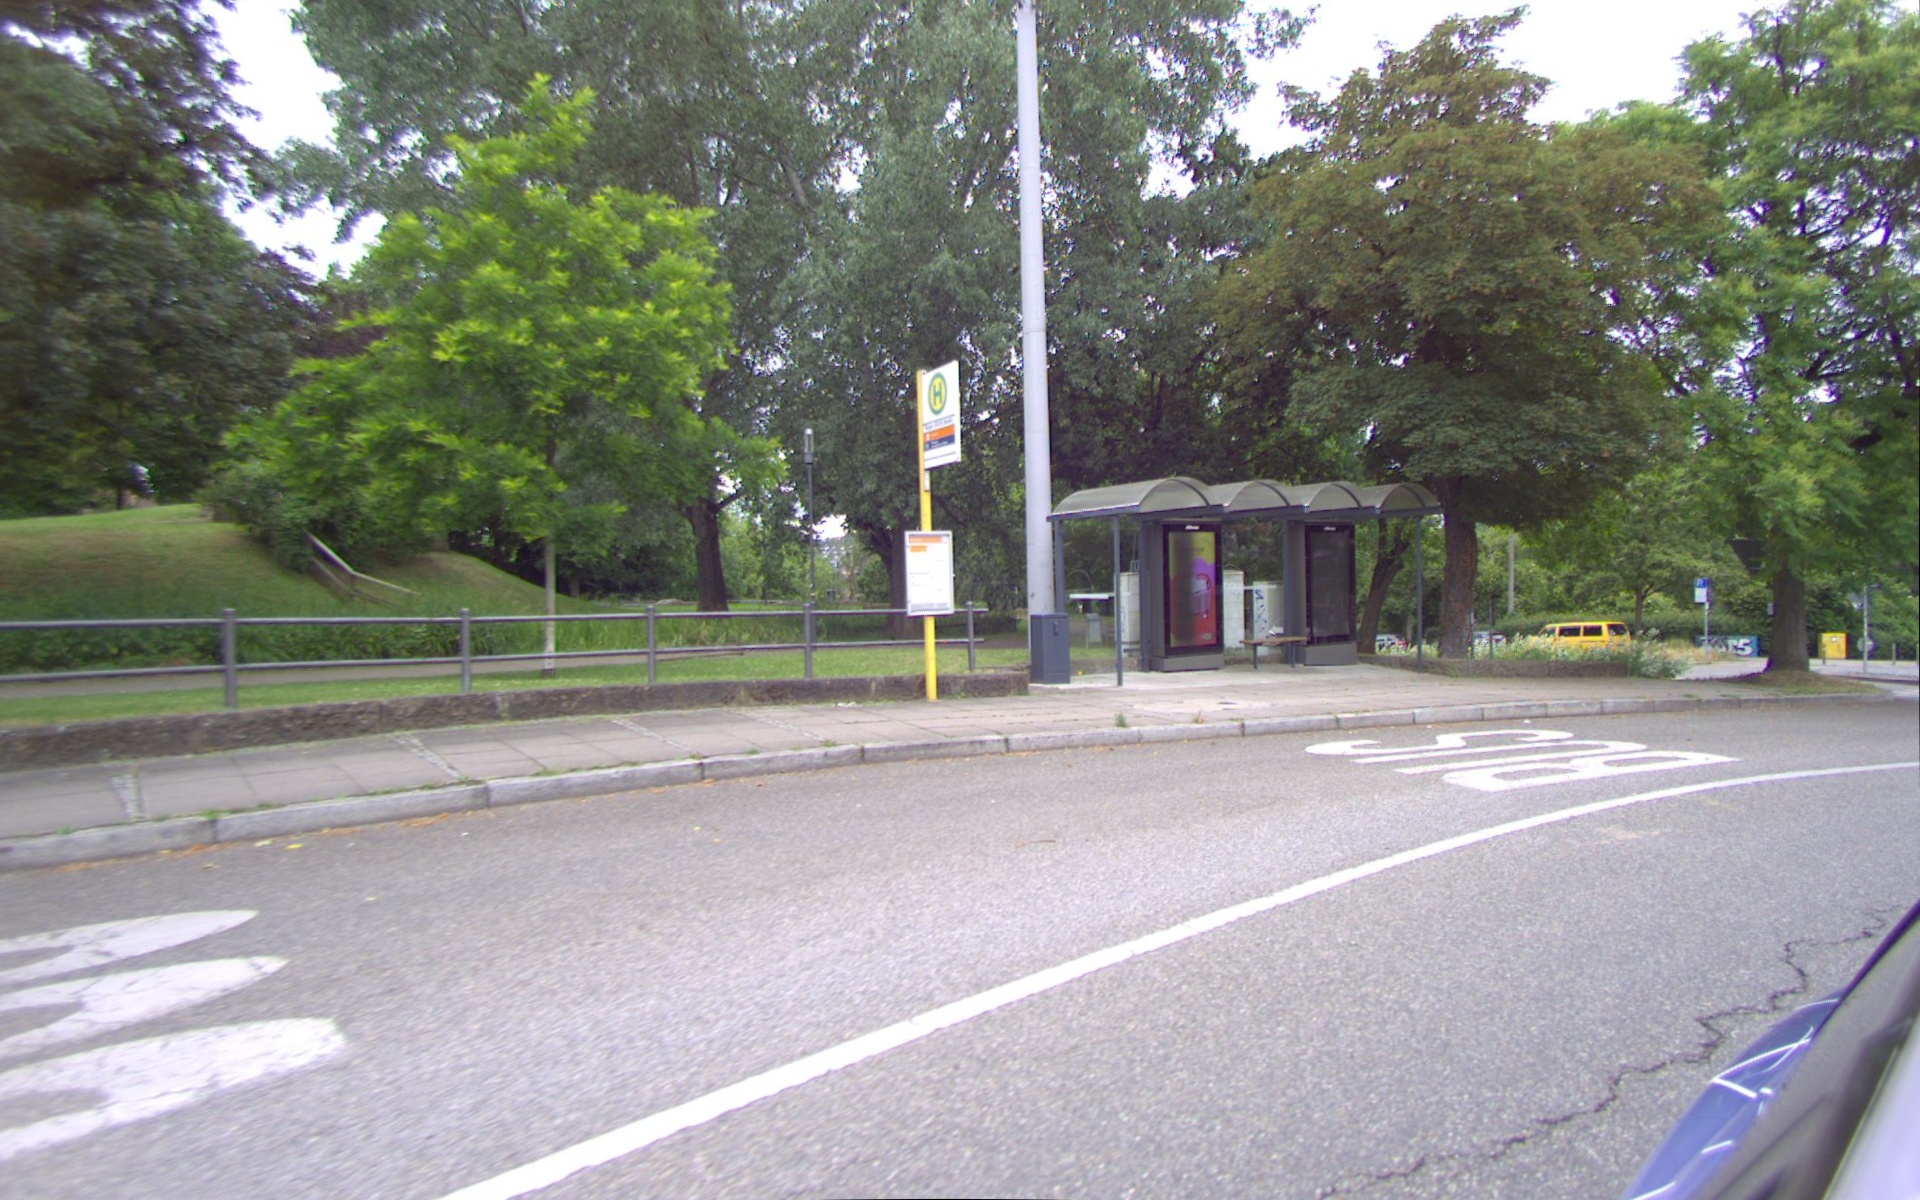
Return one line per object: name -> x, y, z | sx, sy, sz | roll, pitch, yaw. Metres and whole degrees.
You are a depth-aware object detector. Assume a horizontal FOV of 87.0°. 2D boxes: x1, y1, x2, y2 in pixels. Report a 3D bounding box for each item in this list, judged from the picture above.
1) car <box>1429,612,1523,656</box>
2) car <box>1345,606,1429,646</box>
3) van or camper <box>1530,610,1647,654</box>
car -> 27.398, 1.781, 53.863 | 1.958, 2.039, 4.008 | 2, 1, -25
car -> 24.818, 1.497, 58.911 | 1.962, 2.039, 4.000 | 2, 1, -36
van or camper -> 30.020, 1.517, 48.515 | 1.850, 2.003, 4.478 | 0, -1, -23
